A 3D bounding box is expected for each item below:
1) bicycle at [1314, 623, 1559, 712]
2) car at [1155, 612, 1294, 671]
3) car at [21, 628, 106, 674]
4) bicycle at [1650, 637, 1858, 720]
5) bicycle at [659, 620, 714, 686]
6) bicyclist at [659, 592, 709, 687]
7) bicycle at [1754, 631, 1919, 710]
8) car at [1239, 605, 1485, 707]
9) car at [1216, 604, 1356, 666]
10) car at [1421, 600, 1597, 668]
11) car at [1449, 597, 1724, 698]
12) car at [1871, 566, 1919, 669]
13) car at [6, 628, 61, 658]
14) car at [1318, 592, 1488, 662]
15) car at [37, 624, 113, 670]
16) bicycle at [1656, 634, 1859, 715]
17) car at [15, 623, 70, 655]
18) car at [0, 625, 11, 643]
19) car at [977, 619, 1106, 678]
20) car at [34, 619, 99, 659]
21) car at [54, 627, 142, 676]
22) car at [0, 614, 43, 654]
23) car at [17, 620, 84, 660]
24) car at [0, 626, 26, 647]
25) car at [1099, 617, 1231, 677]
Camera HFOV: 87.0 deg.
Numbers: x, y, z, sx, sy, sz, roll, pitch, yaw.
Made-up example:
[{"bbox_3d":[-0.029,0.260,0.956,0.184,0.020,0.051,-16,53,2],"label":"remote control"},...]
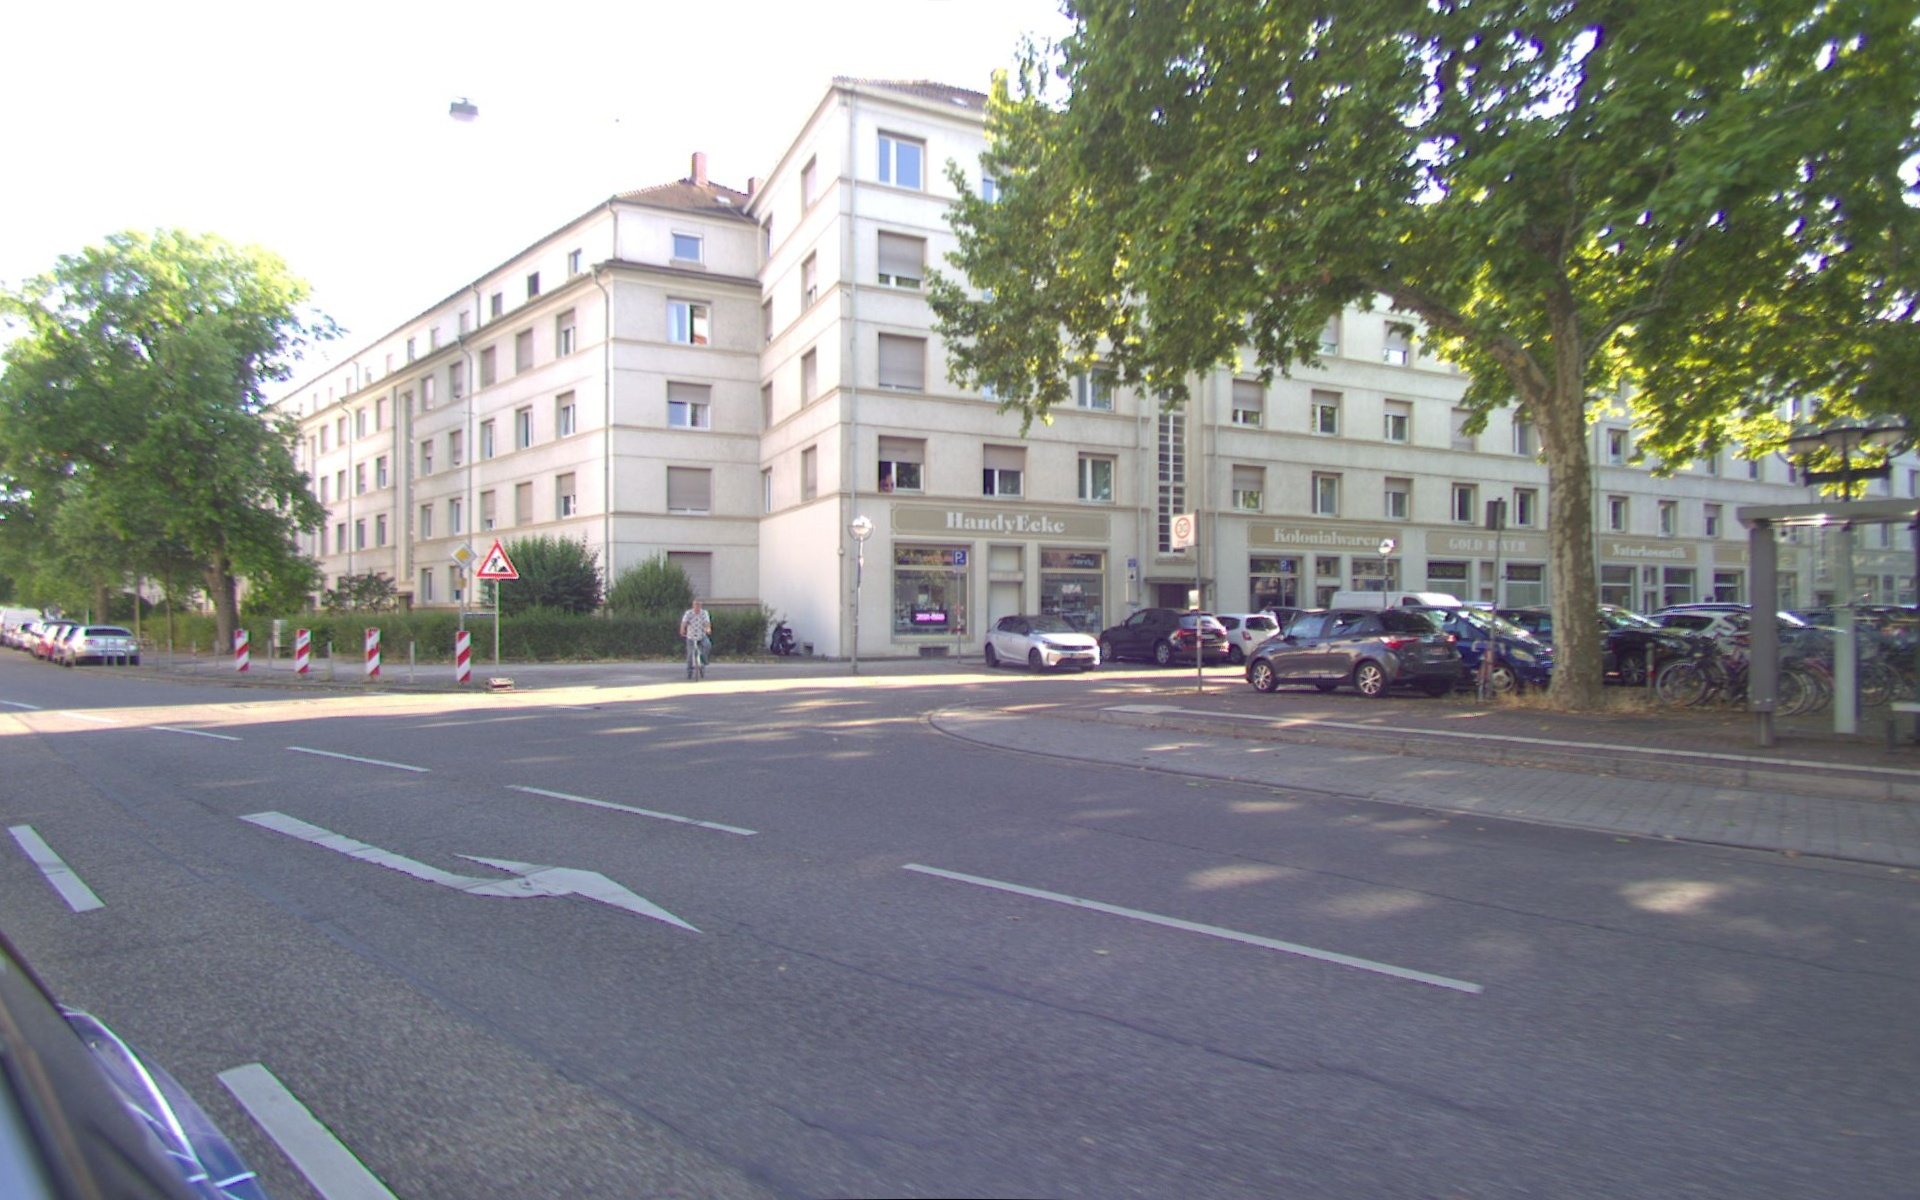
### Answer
[{"bbox_3d":[7.092,0.959,15.290,3.293,1.154,0.710,-1,1,44],"label":"bicycle"},{"bbox_3d":[7.846,1.191,30.329,1.627,1.559,4.048,1,0,-30],"label":"car"},{"bbox_3d":[-37.286,2.087,42.060,3.995,1.569,1.854,-2,6,39],"label":"car"},{"bbox_3d":[11.024,1.053,14.142,0.542,1.000,2.221,-2,1,-39],"label":"bicycle"},{"bbox_3d":[-5.982,1.122,22.279,0.995,1.274,2.489,-2,1,-12],"label":"bicycle"},{"bbox_3d":[-6.096,0.855,22.384,0.961,2.029,0.799,-2,1,-11],"label":"bicyclist"},{"bbox_3d":[13.375,1.035,15.435,0.542,1.000,2.221,-2,1,-8],"label":"bicycle"},{"bbox_3d":[6.750,0.903,17.367,1.725,1.529,3.661,0,-2,-28],"label":"car"},{"bbox_3d":[9.939,1.027,31.137,1.627,1.740,4.048,1,0,-30],"label":"car"},{"bbox_3d":[18.698,1.086,34.758,1.627,2.152,5.185,1,0,-30],"label":"car"},{"bbox_3d":[11.625,0.805,18.967,1.851,1.630,4.005,-2,1,-42],"label":"car"},{"bbox_3d":[28.919,0.519,27.801,1.626,2.932,5.582,1,0,-25],"label":"car"},{"bbox_3d":[-52.254,2.431,57.053,5.057,1.570,1.850,-3,-6,44],"label":"car"},{"bbox_3d":[14.533,0.824,33.577,1.627,2.138,5.185,1,0,-30],"label":"car"},{"bbox_3d":[-33.843,1.748,38.670,4.130,1.450,1.686,-1,5,44],"label":"car"},{"bbox_3d":[11.418,1.035,14.575,0.542,1.000,2.221,-2,1,-39],"label":"bicycle"},{"bbox_3d":[-48.597,2.062,53.568,4.101,1.570,1.850,-4,-4,44],"label":"car"},{"bbox_3d":[-86.663,3.069,90.732,4.471,1.563,1.983,-1,1,42],"label":"car"},{"bbox_3d":[2.069,1.231,26.814,1.626,1.346,4.049,1,0,-25],"label":"car"},{"bbox_3d":[-43.925,1.864,49.717,4.975,1.689,1.895,-1,3,44],"label":"car"},{"bbox_3d":[-30.172,1.747,35.378,4.711,1.362,1.751,-1,5,44],"label":"car"},{"bbox_3d":[-64.046,2.288,68.507,6.164,2.463,2.333,-1,2,43],"label":"car"},{"bbox_3d":[-40.776,1.770,45.324,4.498,1.570,1.850,-1,3,44],"label":"car"},{"bbox_3d":[-76.024,2.872,80.448,4.651,1.364,1.855,-1,-14,41],"label":"car"},{"bbox_3d":[5.801,1.294,29.054,1.626,1.523,4.049,1,0,-25],"label":"car"}]
